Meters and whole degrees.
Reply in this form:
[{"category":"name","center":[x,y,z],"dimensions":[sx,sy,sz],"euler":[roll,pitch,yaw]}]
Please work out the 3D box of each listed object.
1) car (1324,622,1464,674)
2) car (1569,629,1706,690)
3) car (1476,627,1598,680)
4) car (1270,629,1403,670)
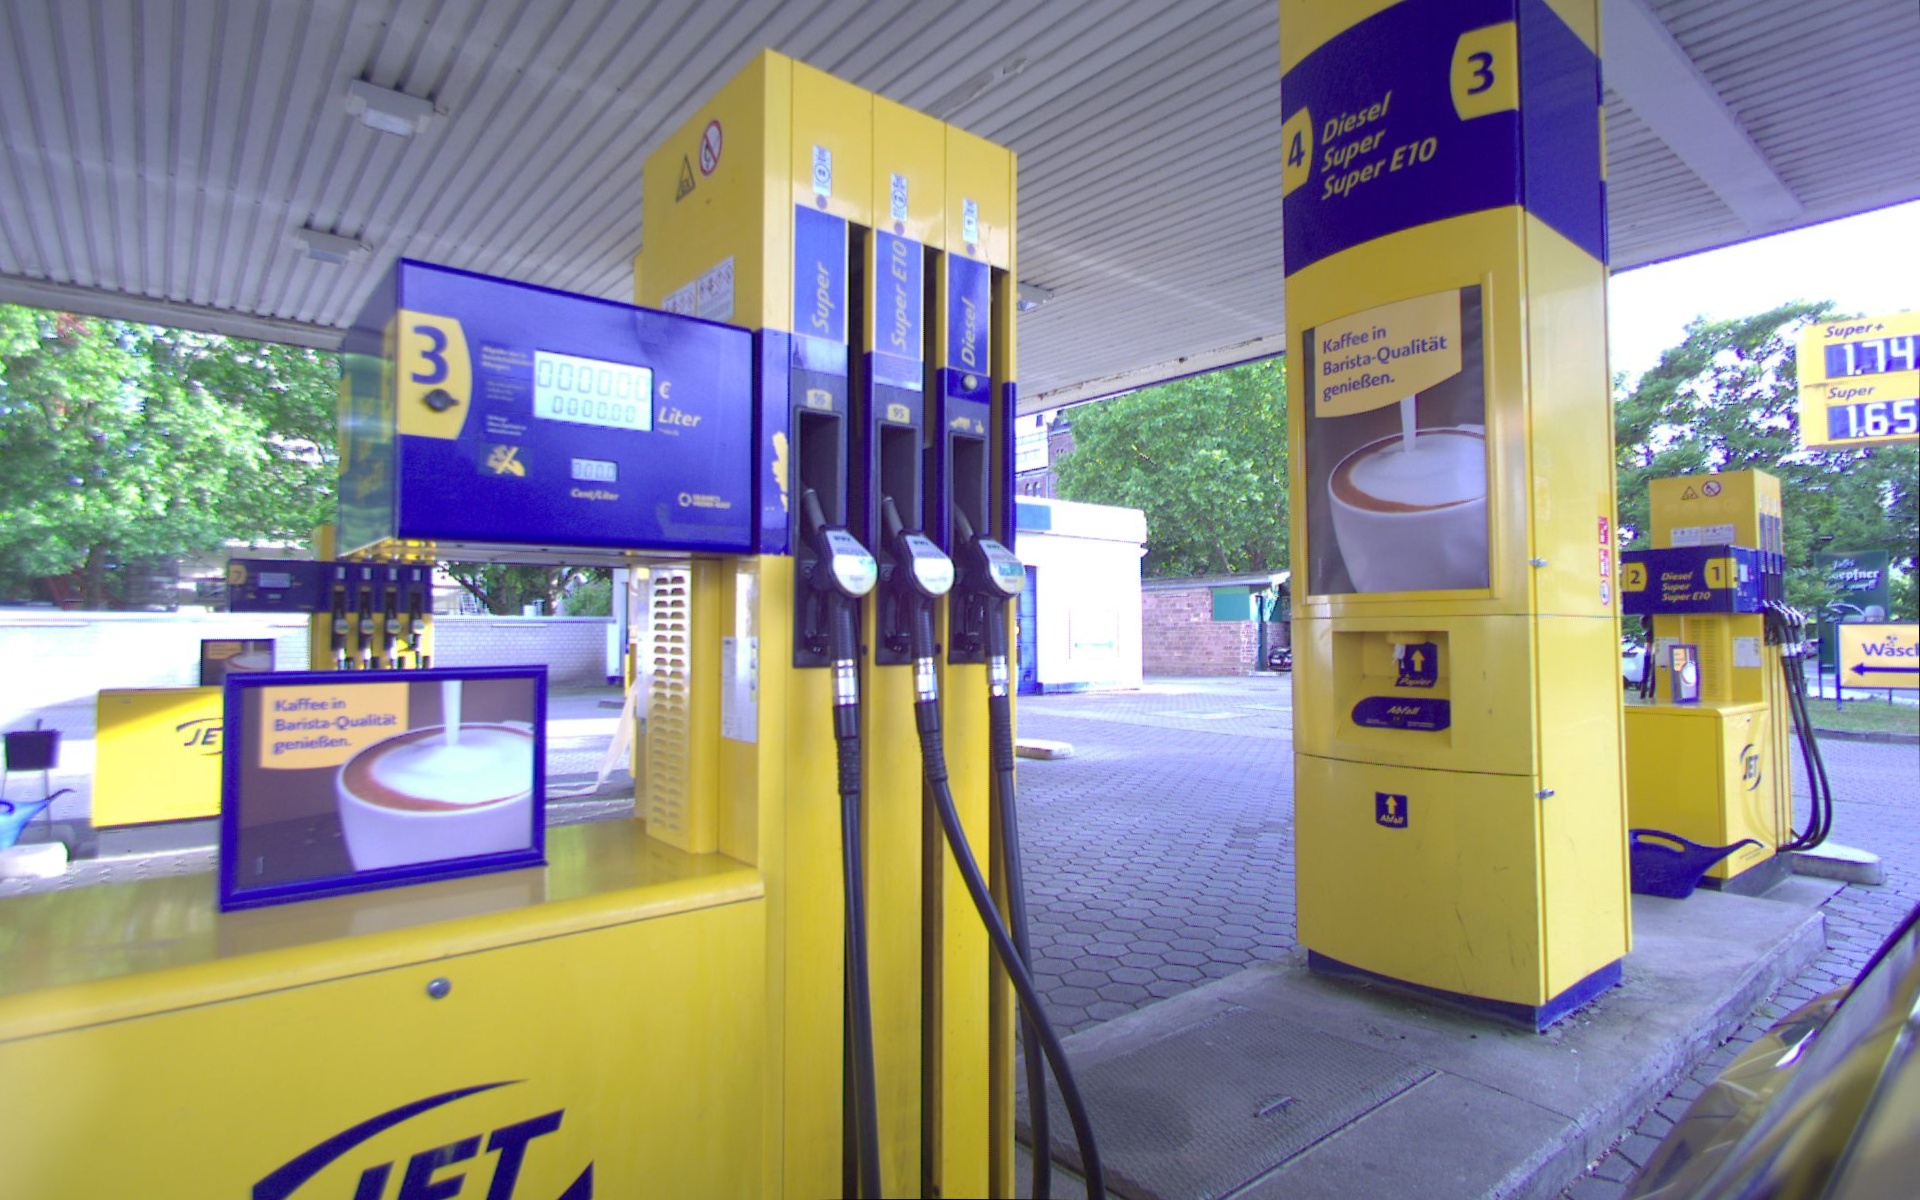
[{"category":"car","center":[13.791,1.547,32.156],"dimensions":[4.134,1.544,1.791],"euler":[2,-3,-24]},{"category":"car","center":[18.223,1.562,27.169],"dimensions":[3.923,1.529,1.740],"euler":[2,-3,-35]},{"category":"car","center":[17.558,1.641,30.756],"dimensions":[3.923,1.529,1.740],"euler":[3,-3,-35]},{"category":"car","center":[12.832,1.698,34.505],"dimensions":[4.134,1.294,1.751],"euler":[2,-3,-22]}]
